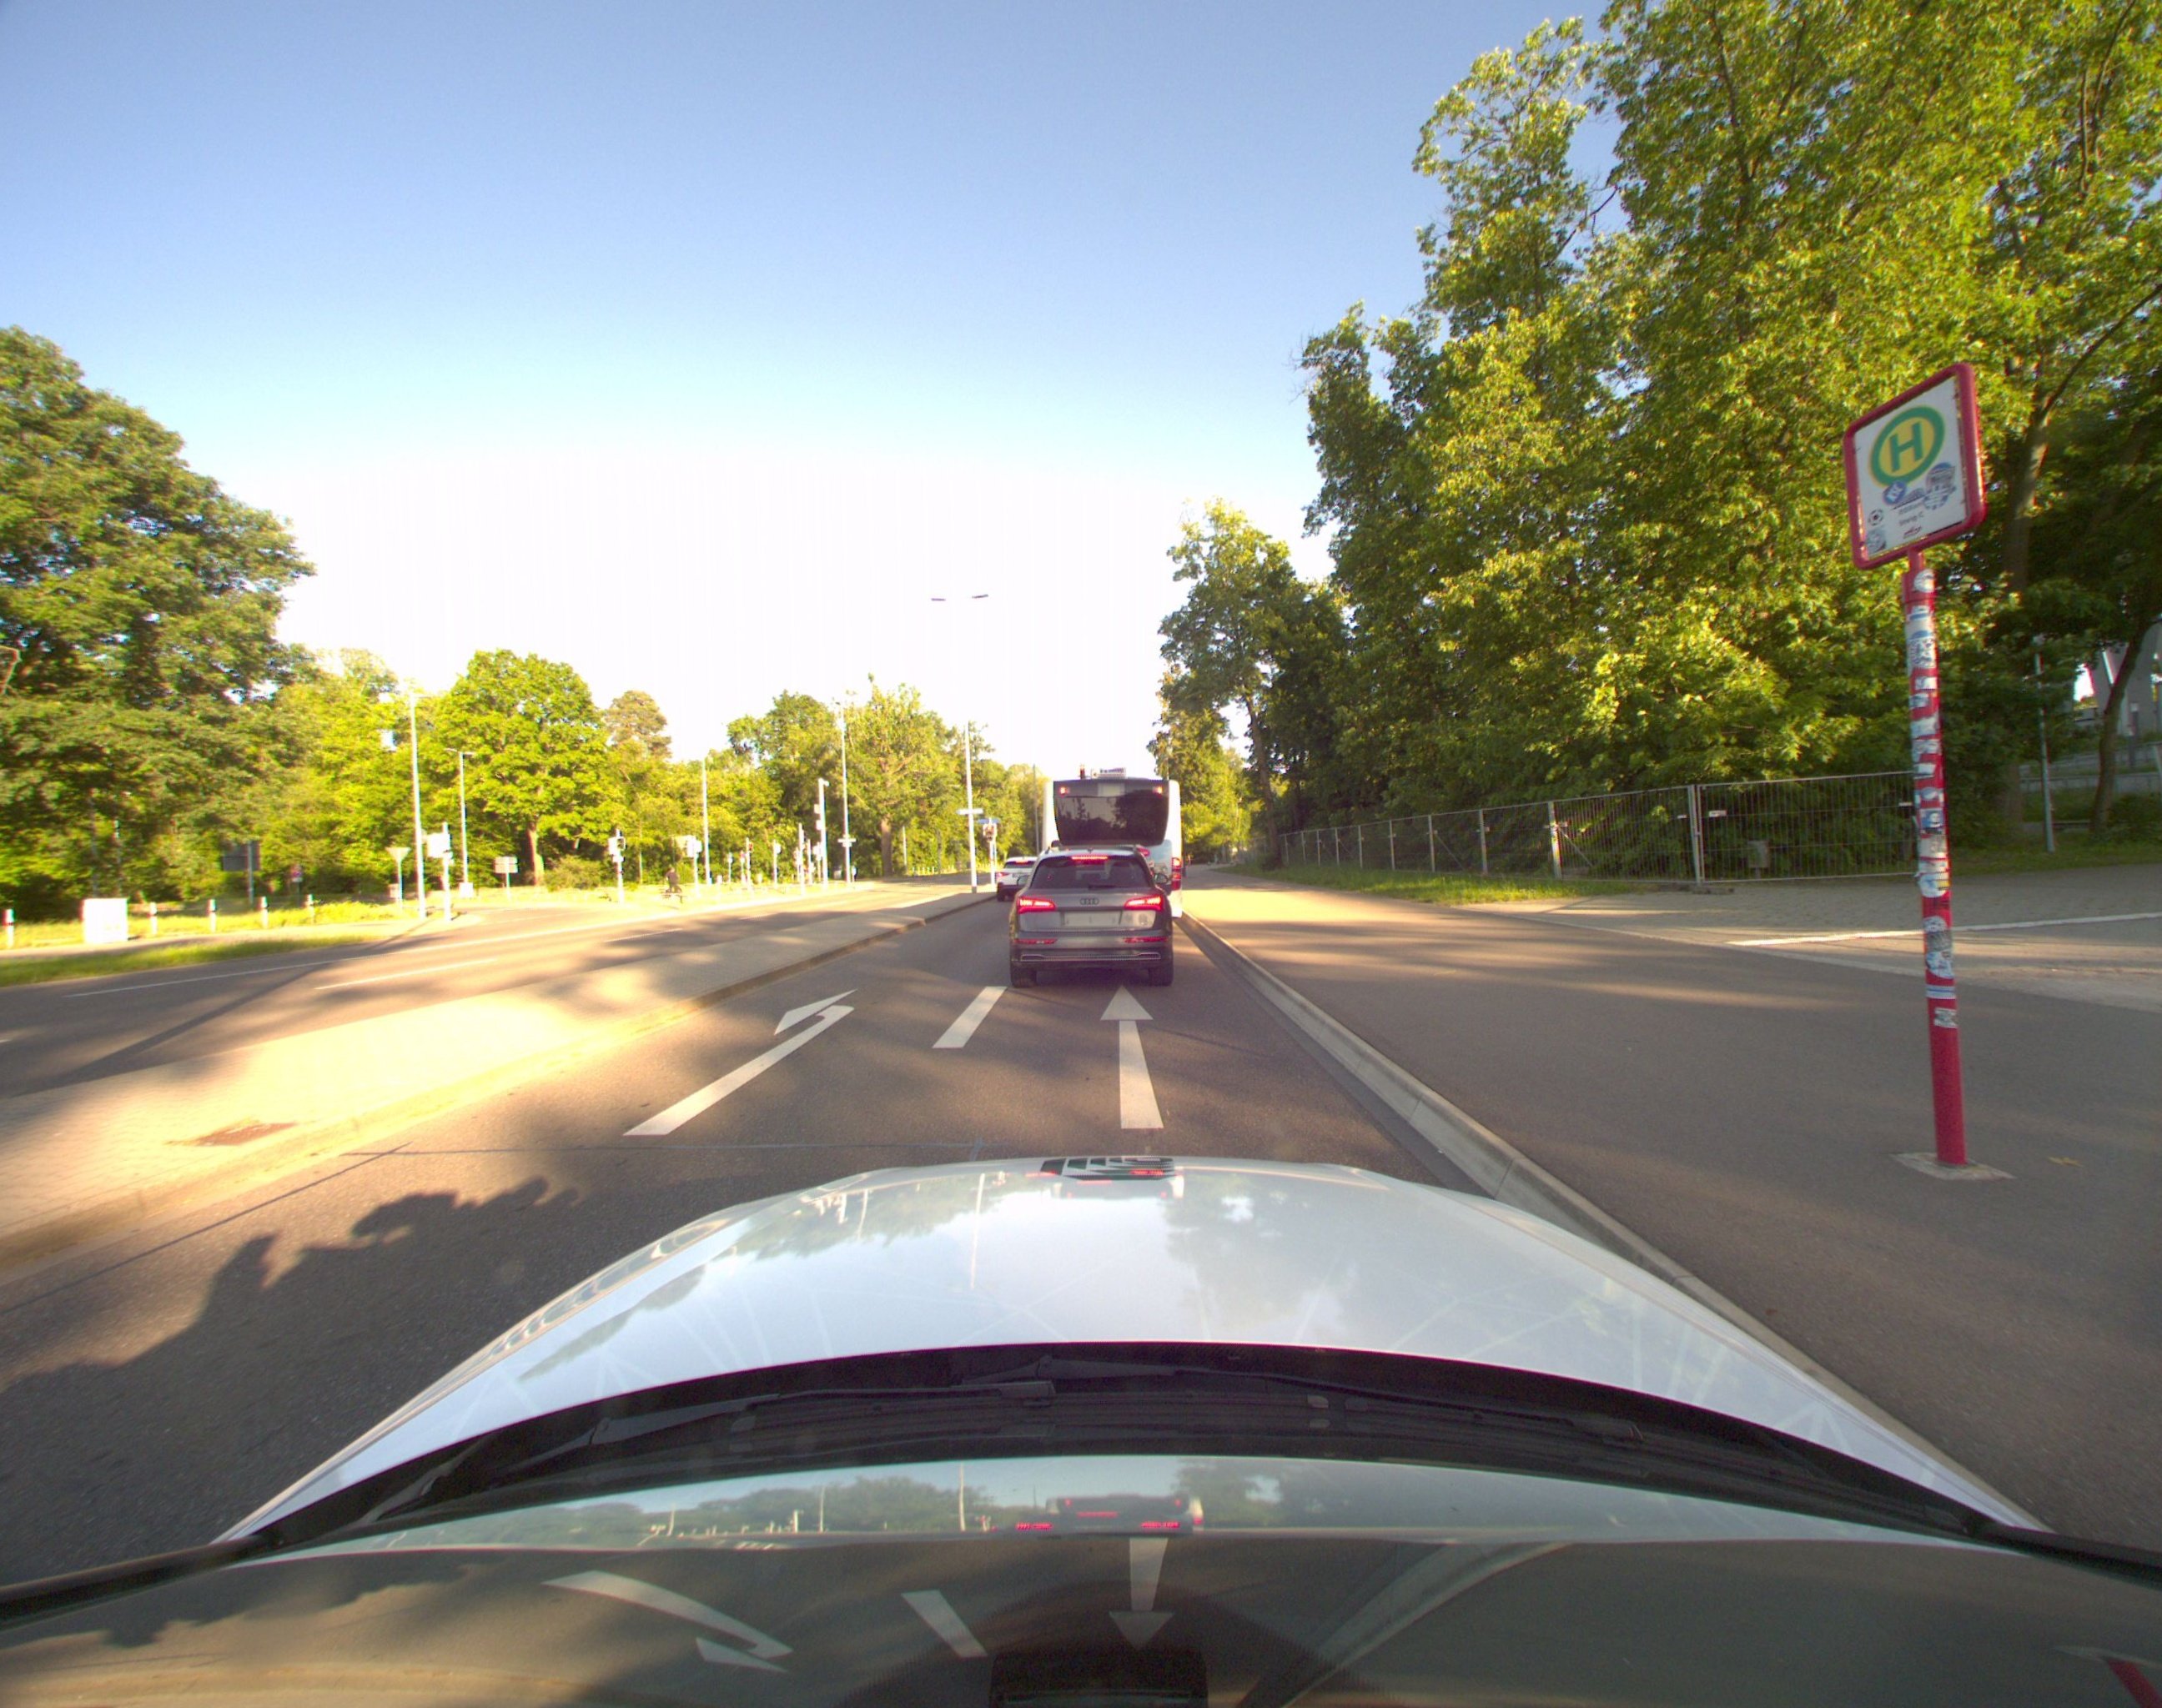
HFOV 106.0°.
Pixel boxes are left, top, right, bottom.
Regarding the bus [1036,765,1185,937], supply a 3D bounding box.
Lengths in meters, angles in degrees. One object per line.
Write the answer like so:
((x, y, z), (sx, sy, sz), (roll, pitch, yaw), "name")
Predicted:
((0.666, -0.001, 19.065), (2.585, 2.989, 9.330), (-1, -1, 2), "bus")

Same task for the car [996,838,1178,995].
((0.128, 0.662, 10.568), (1.891, 1.632, 4.002), (-1, 0, 2), "car")

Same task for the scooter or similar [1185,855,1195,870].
((11.050, 0.825, 82.676), (0.507, 1.444, 2.020), (-3, 0, -3), "scooter or similar")

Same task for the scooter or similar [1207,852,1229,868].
((13.439, 0.571, 79.977), (2.025, 1.444, 0.601), (-3, 0, -23), "scooter or similar")

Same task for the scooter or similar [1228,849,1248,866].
((15.625, 0.360, 81.220), (0.543, 1.567, 1.999), (-3, 0, -37), "scooter or similar")

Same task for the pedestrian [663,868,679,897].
((-22.648, 1.580, 44.998), (0.652, 1.560, 0.533), (-2, -1, -41), "pedestrian")

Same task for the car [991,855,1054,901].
((-2.075, 0.826, 29.780), (1.829, 1.518, 4.002), (-2, 0, 2), "car")
